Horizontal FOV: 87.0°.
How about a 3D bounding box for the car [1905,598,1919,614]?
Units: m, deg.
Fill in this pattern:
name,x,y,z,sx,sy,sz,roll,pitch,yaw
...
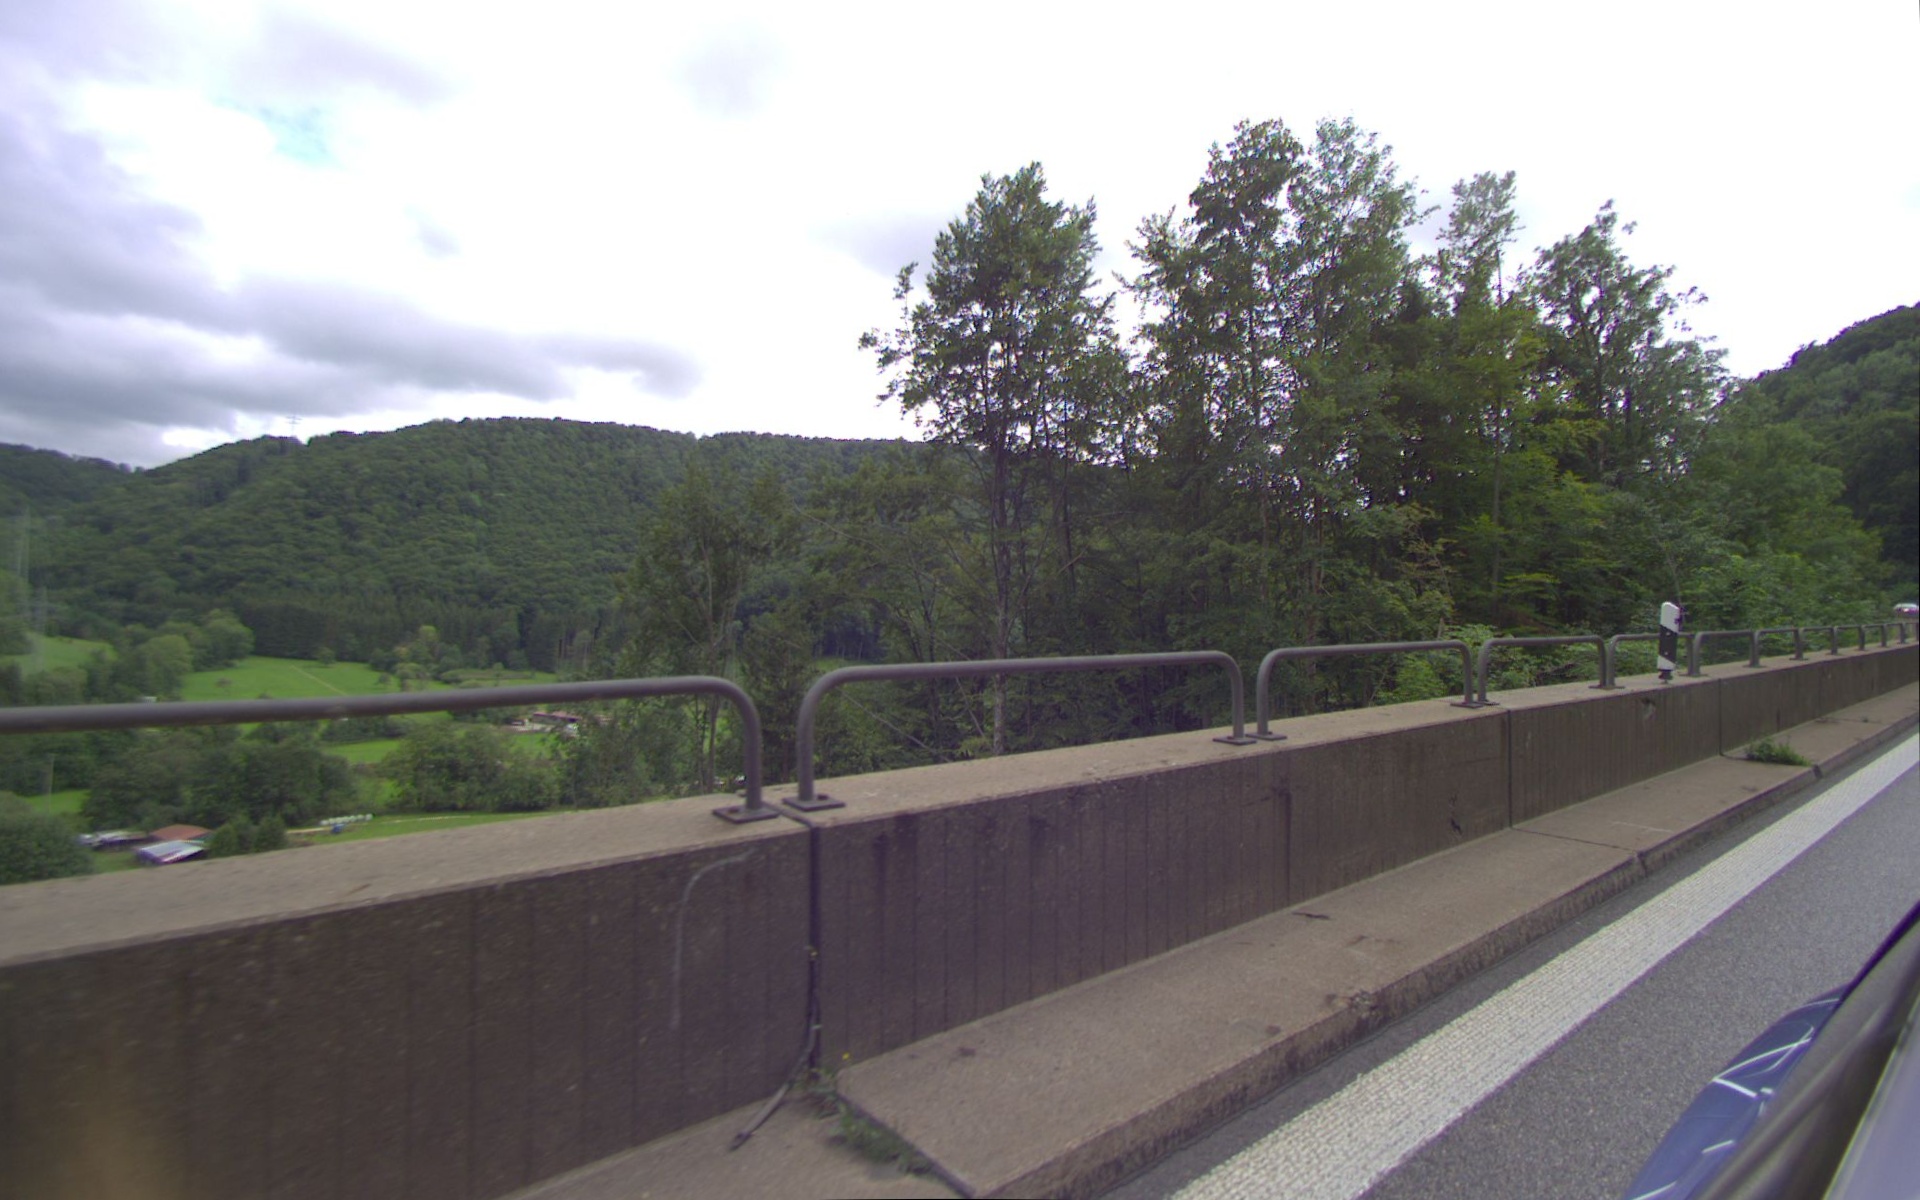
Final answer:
name,x,y,z,sx,sy,sz,roll,pitch,yaw
car,107.101,0.733,112.298,1.796,1.676,4.545,4,3,25
